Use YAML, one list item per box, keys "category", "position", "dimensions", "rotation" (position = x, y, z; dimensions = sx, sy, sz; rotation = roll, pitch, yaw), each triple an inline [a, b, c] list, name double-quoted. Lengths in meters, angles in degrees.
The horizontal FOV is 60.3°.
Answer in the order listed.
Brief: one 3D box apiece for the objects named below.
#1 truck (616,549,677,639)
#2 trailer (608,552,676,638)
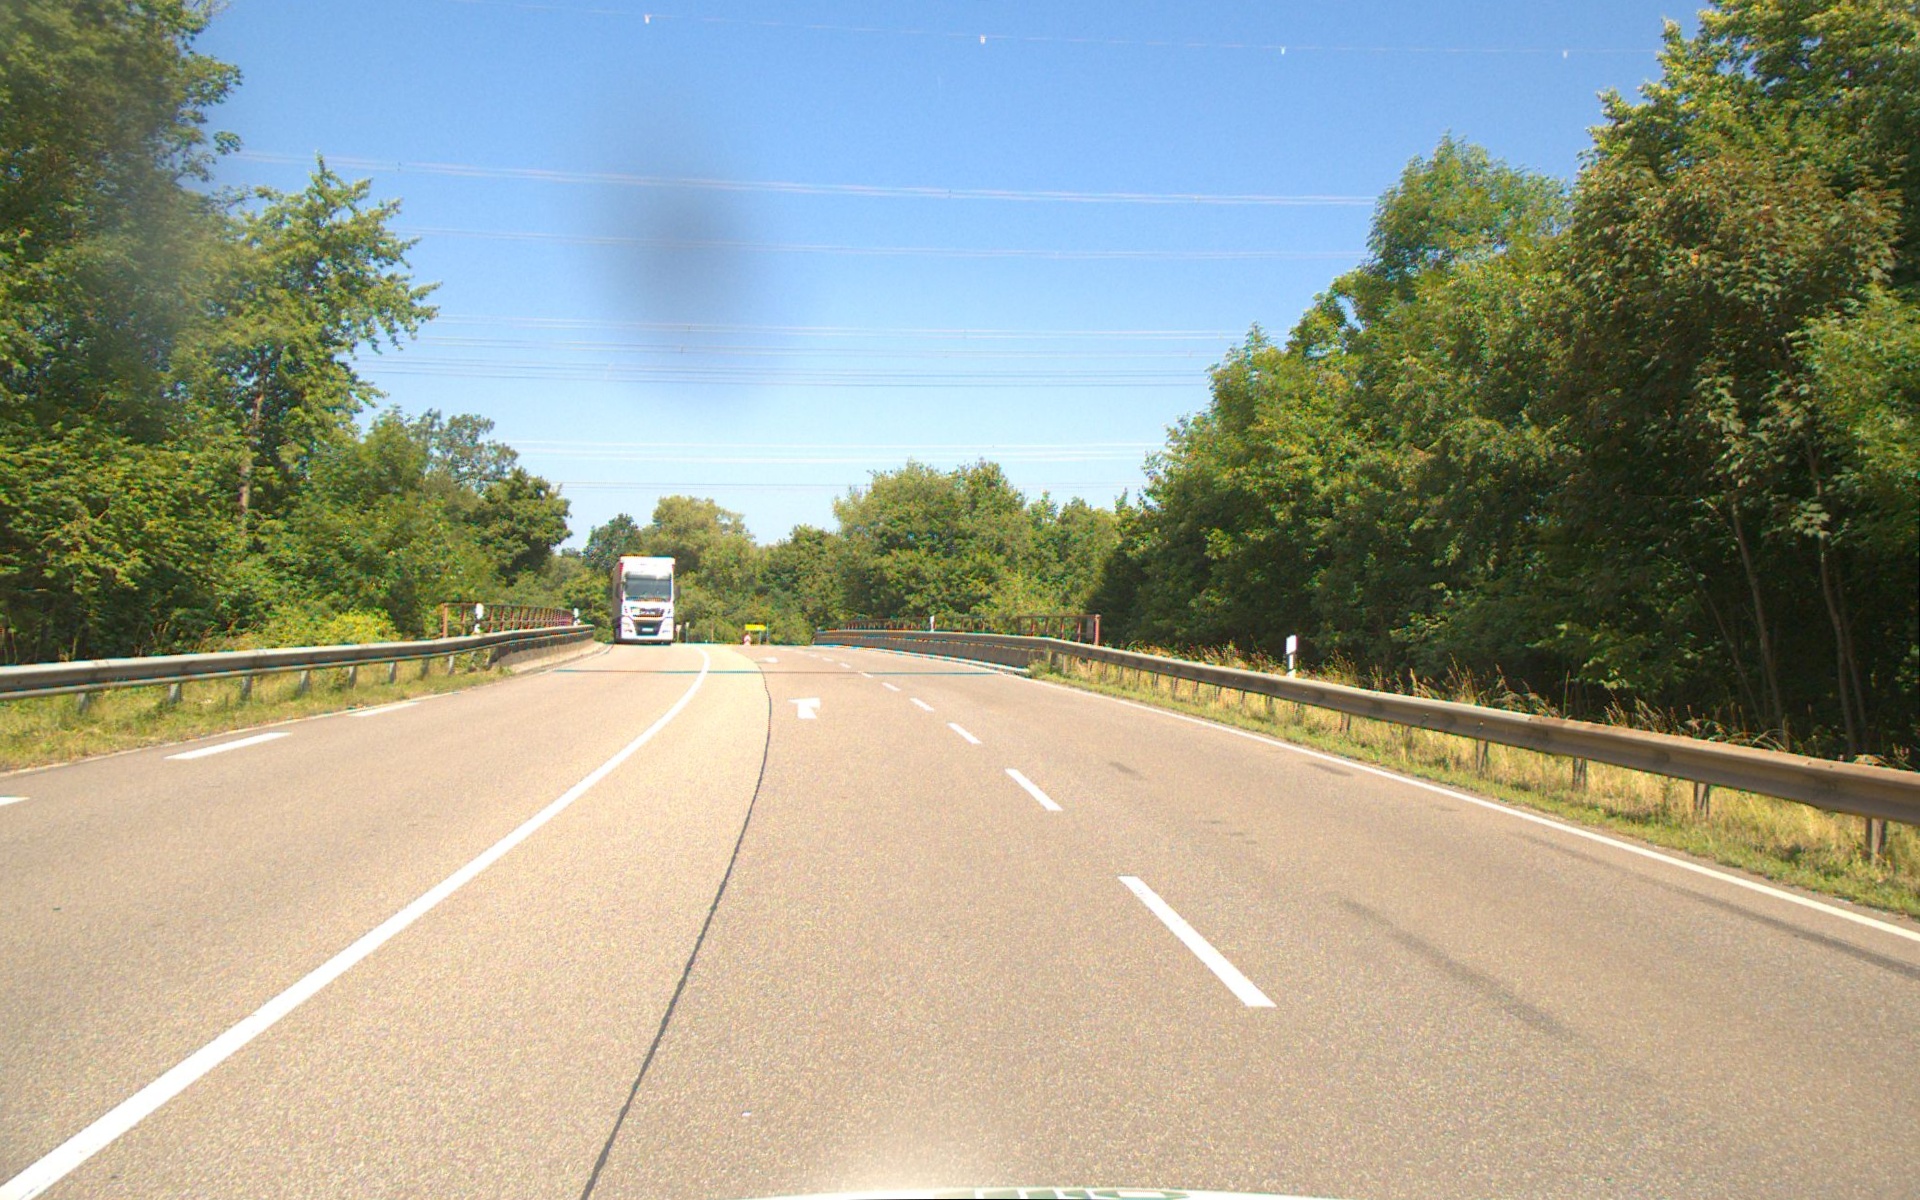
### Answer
- category: "truck"
  position: [-14.938, -0.199, 78.827]
  dimensions: [2.719, 4.105, 5.839]
  rotation: [0, -1, -11]
- category: "trailer"
  position: [-16.648, -0.124, 85.855]
  dimensions: [2.721, 4.133, 14.147]
  rotation: [0, -1, -14]
